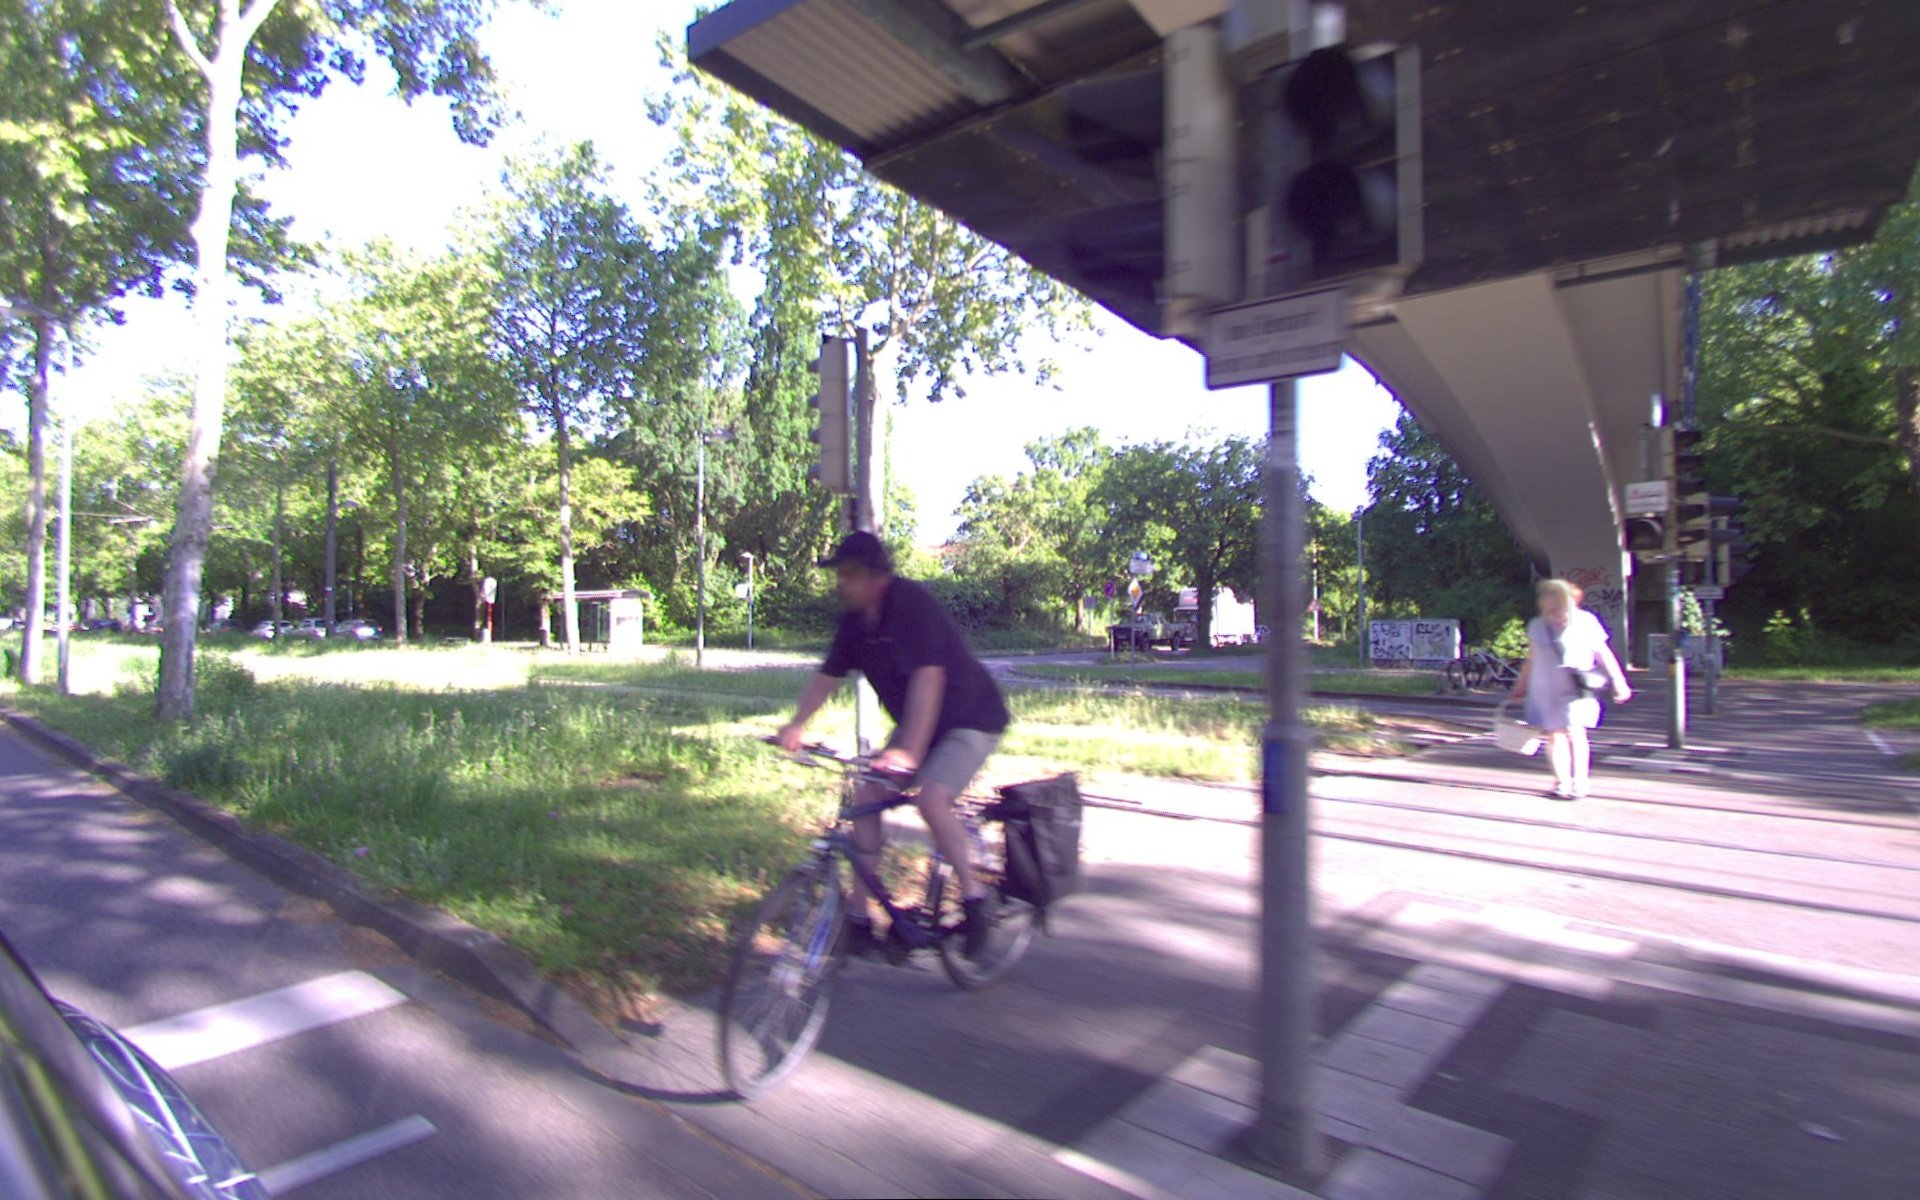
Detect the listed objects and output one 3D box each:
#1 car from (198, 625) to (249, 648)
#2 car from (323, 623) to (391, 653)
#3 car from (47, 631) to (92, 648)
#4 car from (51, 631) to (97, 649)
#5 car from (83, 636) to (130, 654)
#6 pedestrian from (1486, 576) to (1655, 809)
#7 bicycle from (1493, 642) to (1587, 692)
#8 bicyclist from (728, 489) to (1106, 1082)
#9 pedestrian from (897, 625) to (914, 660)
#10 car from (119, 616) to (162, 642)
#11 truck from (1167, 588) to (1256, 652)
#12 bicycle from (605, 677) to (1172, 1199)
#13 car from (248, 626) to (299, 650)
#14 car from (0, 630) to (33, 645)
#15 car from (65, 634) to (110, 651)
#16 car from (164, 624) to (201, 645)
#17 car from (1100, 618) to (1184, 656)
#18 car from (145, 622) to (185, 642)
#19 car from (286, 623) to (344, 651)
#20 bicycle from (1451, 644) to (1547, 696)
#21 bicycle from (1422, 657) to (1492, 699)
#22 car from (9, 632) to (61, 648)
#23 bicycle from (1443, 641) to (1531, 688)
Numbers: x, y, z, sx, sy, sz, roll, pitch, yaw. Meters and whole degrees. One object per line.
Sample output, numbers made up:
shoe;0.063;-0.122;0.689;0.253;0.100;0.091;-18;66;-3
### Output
car;-53.266;2.652;73.186;4.173;1.499;1.821;-1;1;38
car;-34.545;2.137;57.931;4.623;1.499;1.879;-1;2;40
car;-97.919;4.305;111.376;1.868;1.722;4.512;0;0;-15
car;-93.408;4.183;106.780;1.868;1.722;4.512;0;0;-15
car;-80.815;4.233;95.865;1.857;1.579;4.011;0;0;-15
pedestrian;4.776;0.672;7.927;1.047;1.687;0.718;-1;-1;38
bicycle;12.460;1.418;21.774;1.685;1.016;0.429;-2;-1;41
bicyclist;-0.132;0.520;3.440;0.814;1.644;0.943;-3;-1;41
pedestrian;-2.407;1.850;44.565;0.526;1.502;0.589;0;-1;-29
car;-70.667;2.490;87.277;4.273;2.072;1.963;-1;2;39
truck;15.867;1.274;63.402;2.740;3.779;8.417;-1;-2;34
bicycle;-0.125;0.905;3.363;0.814;1.155;1.812;-3;-1;41
car;-45.179;2.476;66.567;4.020;1.429;1.702;-1;1;40
car;-119.203;4.684;126.975;1.820;1.722;3.991;-1;0;8
car;-87.307;4.228;101.282;1.857;1.579;4.011;0;0;-15
car;-61.176;2.690;79.596;3.566;1.499;1.526;-2;1;39
car;9.984;1.967;55.099;2.220;1.963;6.081;-1;-2;35
car;-65.256;2.642;83.060;3.814;1.507;1.733;-1;2;40
car;-39.575;2.241;62.089;4.186;1.608;1.797;-1;1;40
bicycle;11.175;1.427;21.007;1.685;1.016;0.429;-2;-1;41
bicycle;9.961;1.546;20.296;1.173;0.784;0.429;-2;-1;41
car;-111.015;4.816;121.487;1.878;1.722;4.489;-1;0;8
bicycle;11.869;1.431;22.828;1.685;1.016;0.429;-2;-1;41
